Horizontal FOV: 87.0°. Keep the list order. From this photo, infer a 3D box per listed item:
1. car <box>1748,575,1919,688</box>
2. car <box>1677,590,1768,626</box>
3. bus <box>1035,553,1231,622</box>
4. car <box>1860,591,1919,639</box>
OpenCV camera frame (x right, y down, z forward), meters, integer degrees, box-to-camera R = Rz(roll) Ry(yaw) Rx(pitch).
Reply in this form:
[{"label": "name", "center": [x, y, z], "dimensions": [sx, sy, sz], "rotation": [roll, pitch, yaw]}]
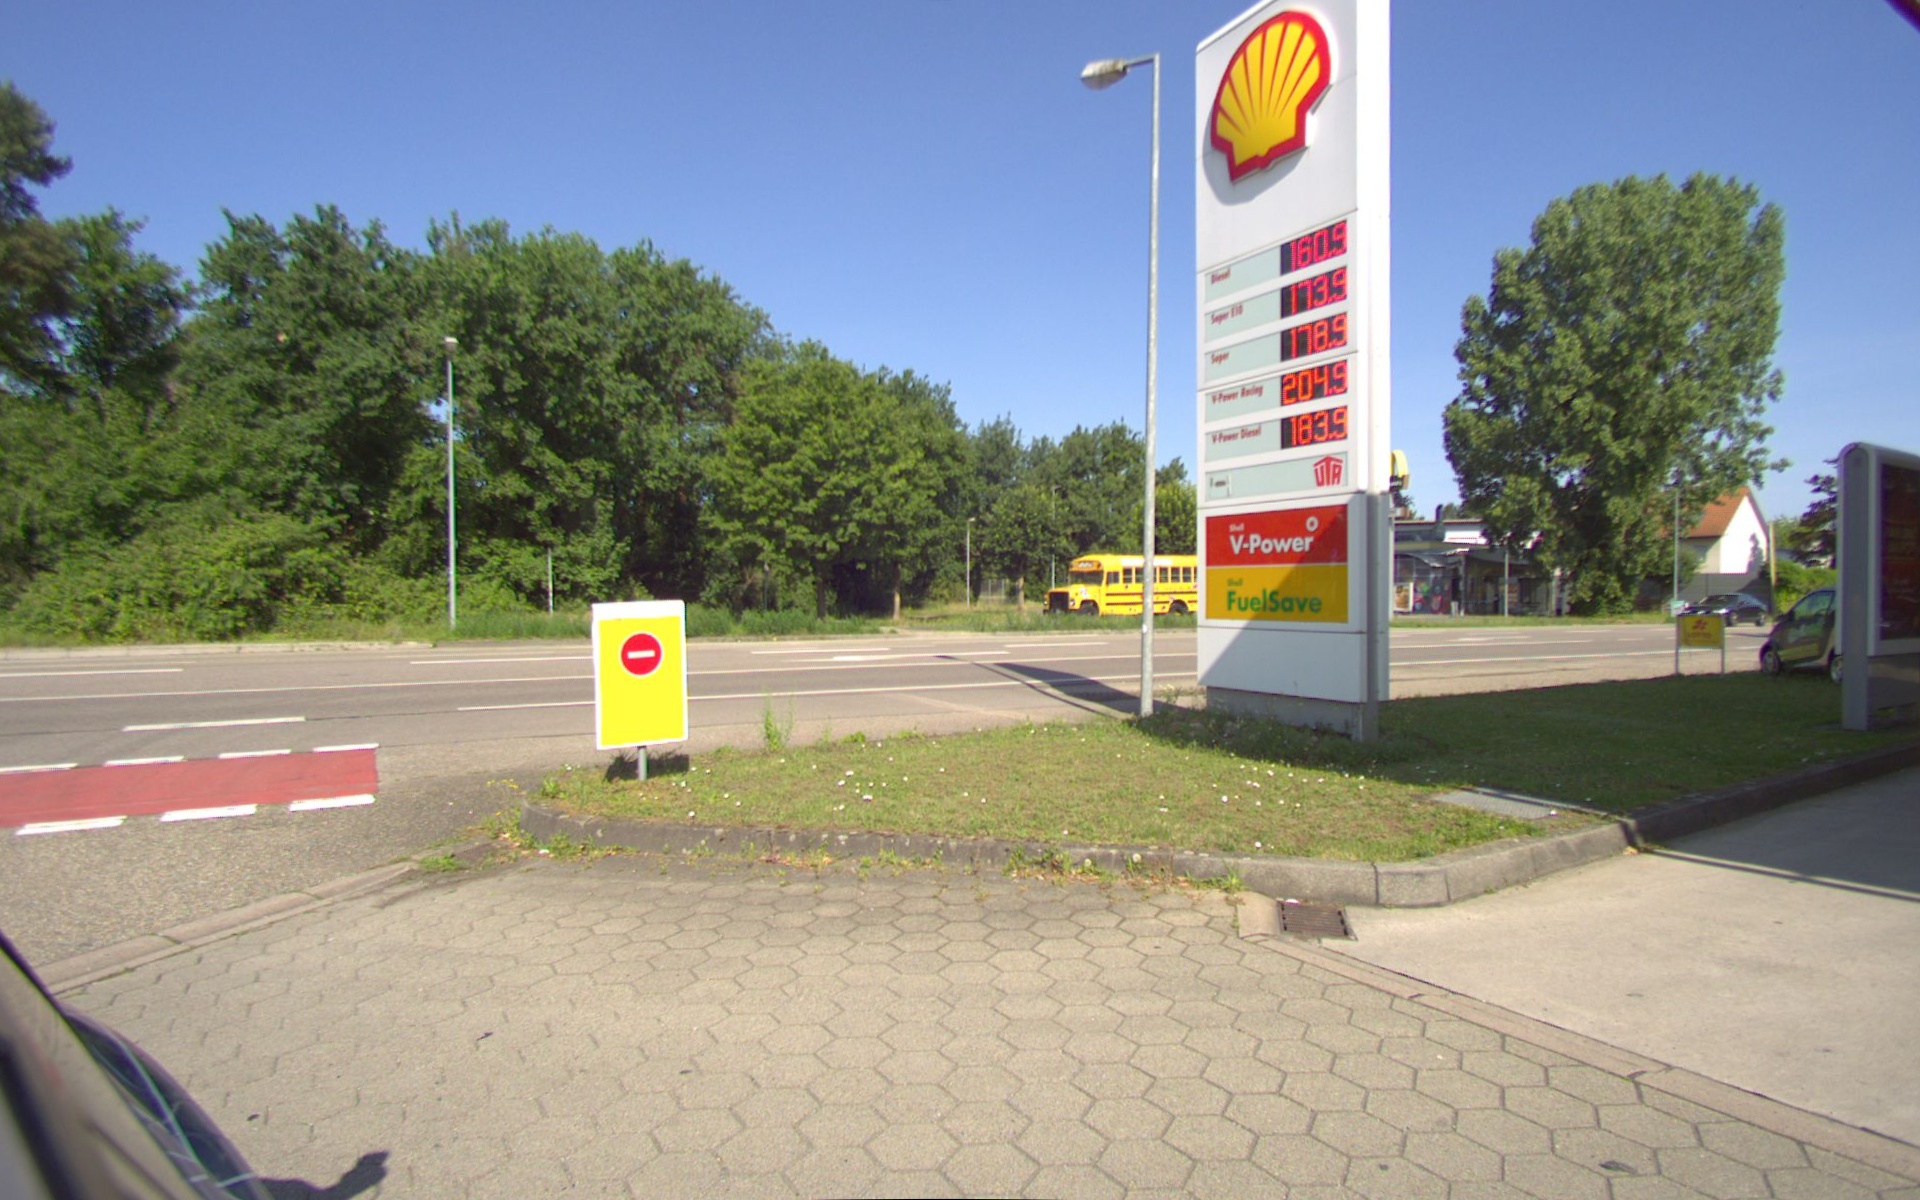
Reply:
[{"label": "car", "center": [13.587, 0.440, 15.300], "dimensions": [1.562, 1.541, 2.720], "rotation": [2, 1, 12]}, {"label": "car", "center": [33.353, 0.339, 44.230], "dimensions": [3.932, 1.469, 1.833], "rotation": [1, 2, -32]}, {"label": "bus", "center": [7.539, -0.495, 43.301], "dimensions": [8.845, 2.699, 2.595], "rotation": [1, 2, -34]}, {"label": "car", "center": [35.527, 0.516, 37.694], "dimensions": [4.234, 1.660, 1.819], "rotation": [0, 2, -31]}]
